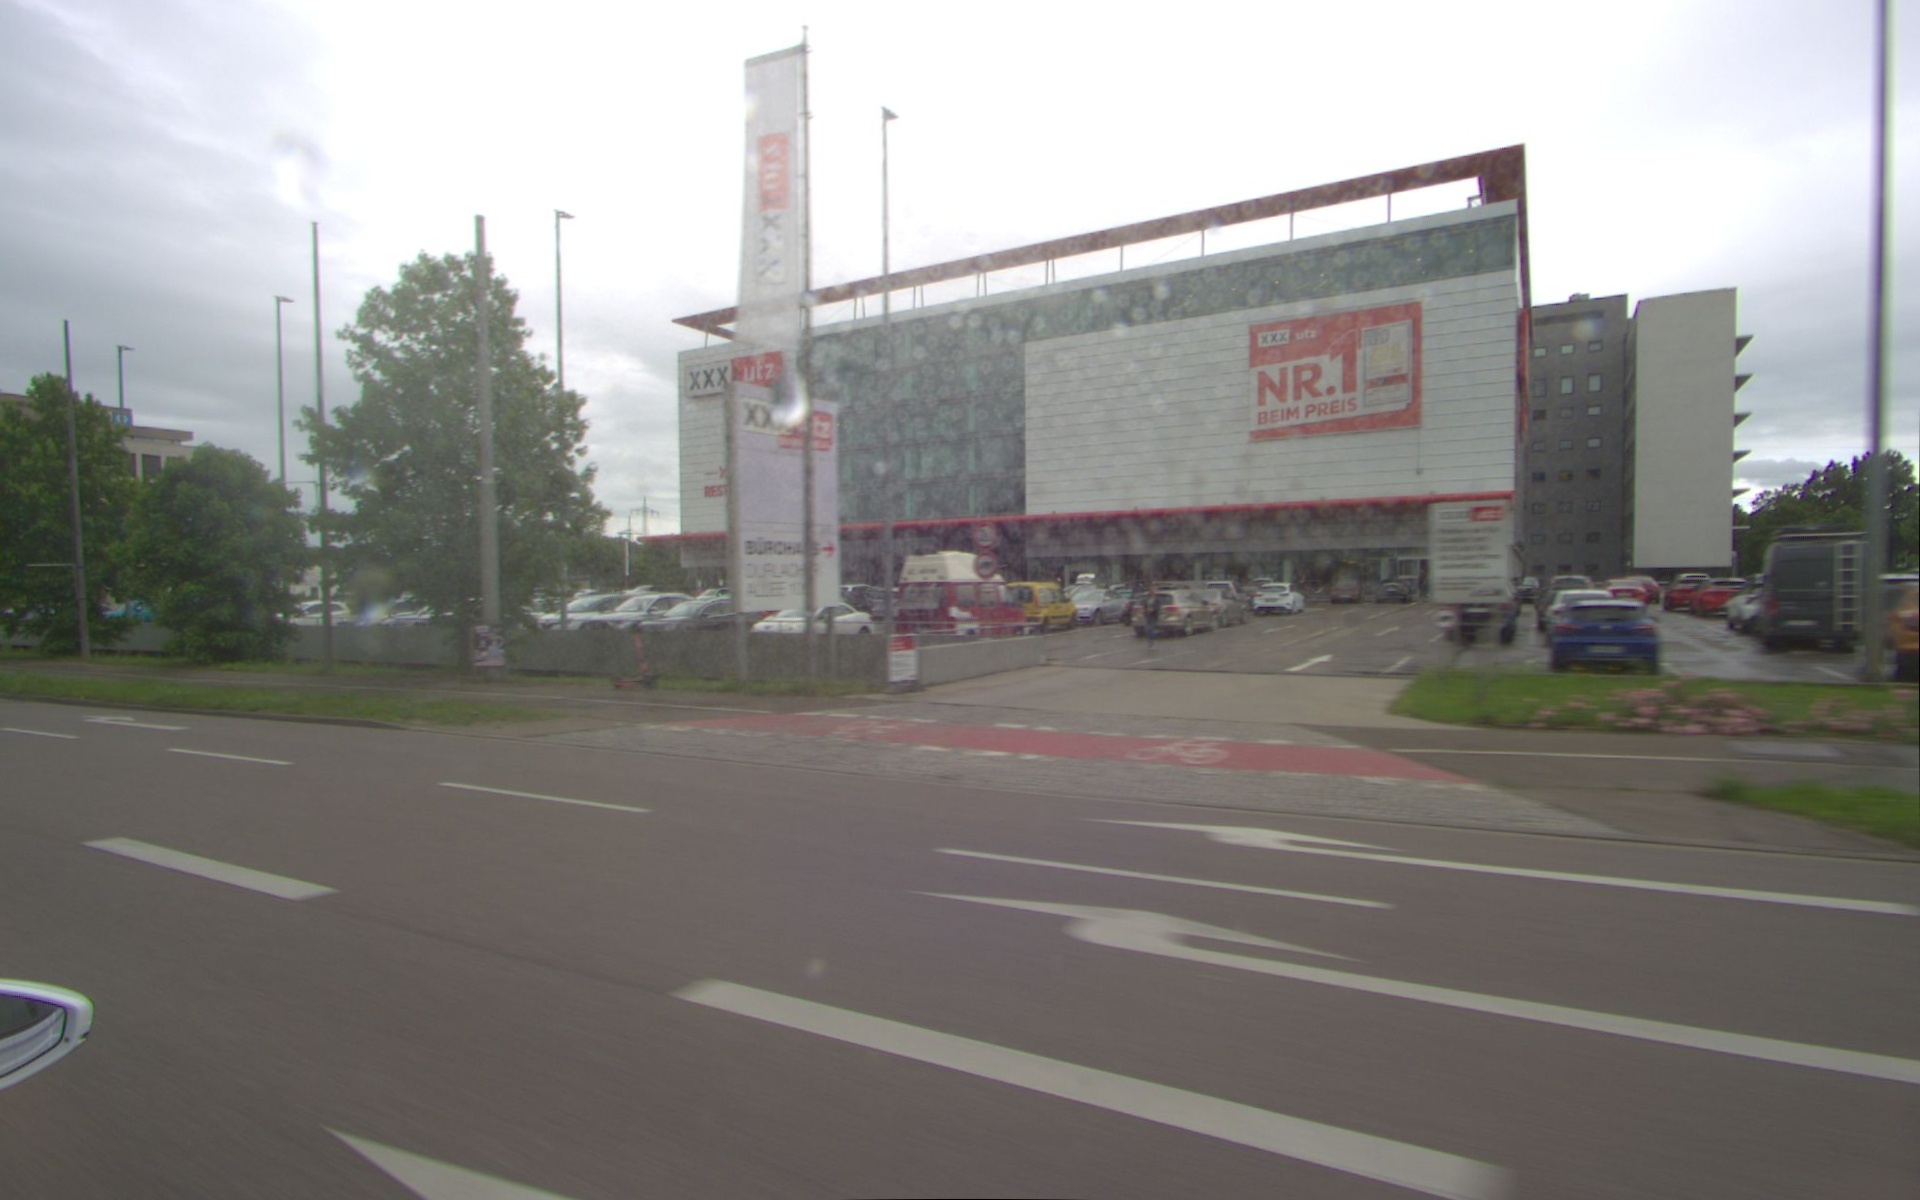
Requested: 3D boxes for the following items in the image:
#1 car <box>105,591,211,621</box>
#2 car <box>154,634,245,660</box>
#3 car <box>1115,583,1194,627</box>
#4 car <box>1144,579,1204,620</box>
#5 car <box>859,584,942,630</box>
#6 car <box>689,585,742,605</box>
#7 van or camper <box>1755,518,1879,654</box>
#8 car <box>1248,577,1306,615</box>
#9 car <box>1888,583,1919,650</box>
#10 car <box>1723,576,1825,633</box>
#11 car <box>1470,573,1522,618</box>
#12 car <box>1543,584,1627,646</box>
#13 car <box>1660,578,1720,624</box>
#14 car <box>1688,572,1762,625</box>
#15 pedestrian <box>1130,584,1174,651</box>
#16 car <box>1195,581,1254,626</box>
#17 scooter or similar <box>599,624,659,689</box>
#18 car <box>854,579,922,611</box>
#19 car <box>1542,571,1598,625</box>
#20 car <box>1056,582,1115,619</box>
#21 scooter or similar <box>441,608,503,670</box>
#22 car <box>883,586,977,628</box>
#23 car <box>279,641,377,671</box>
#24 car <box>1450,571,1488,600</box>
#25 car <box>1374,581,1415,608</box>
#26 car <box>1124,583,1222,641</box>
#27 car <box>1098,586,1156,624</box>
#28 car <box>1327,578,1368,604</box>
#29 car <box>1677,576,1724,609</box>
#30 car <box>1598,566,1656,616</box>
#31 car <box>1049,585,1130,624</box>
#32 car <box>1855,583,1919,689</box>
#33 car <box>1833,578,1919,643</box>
[{"bbox_3d":[-42.729,0.306,53.457,1.783,1.545,4.064,1,1,27],"label":"car"},{"bbox_3d":[-46.073,2.827,60.760,1.738,1.368,4.046,-1,-1,32],"label":"car"},{"bbox_3d":[7.794,0.200,39.938,1.761,1.656,3.978,-1,0,32],"label":"car"},{"bbox_3d":[10.756,-0.012,50.145,1.905,1.951,3.983,-1,0,28],"label":"car"},{"bbox_3d":[-2.722,0.307,46.696,1.949,2.040,3.979,-1,0,32],"label":"car"},{"bbox_3d":[-17.856,-0.352,73.187,1.678,1.395,3.585,2,1,33],"label":"car"},{"bbox_3d":[21.176,-0.319,24.944,1.965,3.023,5.361,0,0,37],"label":"van or camper"},{"bbox_3d":[14.982,-0.158,47.202,1.807,1.676,3.982,-1,0,29],"label":"car"},{"bbox_3d":[23.760,0.372,23.606,1.971,1.589,3.980,-1,-1,31],"label":"car"},{"bbox_3d":[24.187,0.146,29.898,1.828,1.576,3.979,-1,0,32],"label":"car"},{"bbox_3d":[22.619,-0.247,42.310,1.826,1.800,4.178,1,2,28],"label":"car"},{"bbox_3d":[17.290,0.394,27.738,1.837,1.572,3.978,-1,0,32],"label":"car"},{"bbox_3d":[31.152,0.002,42.824,1.795,1.842,3.976,-1,1,33],"label":"car"},{"bbox_3d":[29.229,-0.055,38.362,1.806,1.886,3.979,-1,0,31],"label":"car"},{"bbox_3d":[5.155,0.456,26.916,0.872,1.743,0.938,2,2,29],"label":"pedestrian"},{"bbox_3d":[12.938,0.167,48.888,1.884,2.084,3.983,1,1,28],"label":"car"},{"bbox_3d":[-6.398,1.083,19.339,1.230,1.207,0.369,0,2,31],"label":"scooter or similar"},{"bbox_3d":[-4.136,-0.290,58.415,1.870,1.773,3.975,-1,0,35],"label":"car"},{"bbox_3d":[25.063,-0.070,41.185,1.856,2.074,3.980,-1,0,31],"label":"car"},{"bbox_3d":[6.682,0.036,52.824,1.859,1.846,3.985,-1,0,27],"label":"car"},{"bbox_3d":[-11.822,0.942,24.243,1.798,1.440,0.647,-1,1,40],"label":"scooter or similar"},{"bbox_3d":[-1.122,0.286,39.107,1.860,1.554,3.981,-1,0,30],"label":"car"},{"bbox_3d":[-33.485,2.933,53.149,1.739,1.368,4.046,-1,-1,32],"label":"car"},{"bbox_3d":[29.030,-0.835,57.050,1.627,1.581,3.595,1,2,32],"label":"car"},{"bbox_3d":[25.522,-0.318,58.759,1.698,1.497,3.521,2,1,32],"label":"car"},{"bbox_3d":[7.246,0.325,33.732,1.807,1.606,4.398,2,4,32],"label":"car"},{"bbox_3d":[8.578,0.272,51.206,1.812,1.864,3.984,-1,0,28],"label":"car"},{"bbox_3d":[23.423,-0.554,60.493,1.698,1.497,3.521,2,1,32],"label":"car"},{"bbox_3d":[38.107,-0.404,51.580,1.627,1.581,3.595,1,2,32],"label":"car"},{"bbox_3d":[28.929,-0.354,43.520,1.972,2.040,3.979,-1,0,32],"label":"car"},{"bbox_3d":[5.365,0.202,41.051,1.761,1.514,3.978,-1,0,32],"label":"car"},{"bbox_3d":[16.668,0.535,16.938,1.791,1.665,3.974,-1,0,35],"label":"car"},{"bbox_3d":[26.264,0.267,28.249,1.859,1.692,3.977,-1,1,32],"label":"car"}]
